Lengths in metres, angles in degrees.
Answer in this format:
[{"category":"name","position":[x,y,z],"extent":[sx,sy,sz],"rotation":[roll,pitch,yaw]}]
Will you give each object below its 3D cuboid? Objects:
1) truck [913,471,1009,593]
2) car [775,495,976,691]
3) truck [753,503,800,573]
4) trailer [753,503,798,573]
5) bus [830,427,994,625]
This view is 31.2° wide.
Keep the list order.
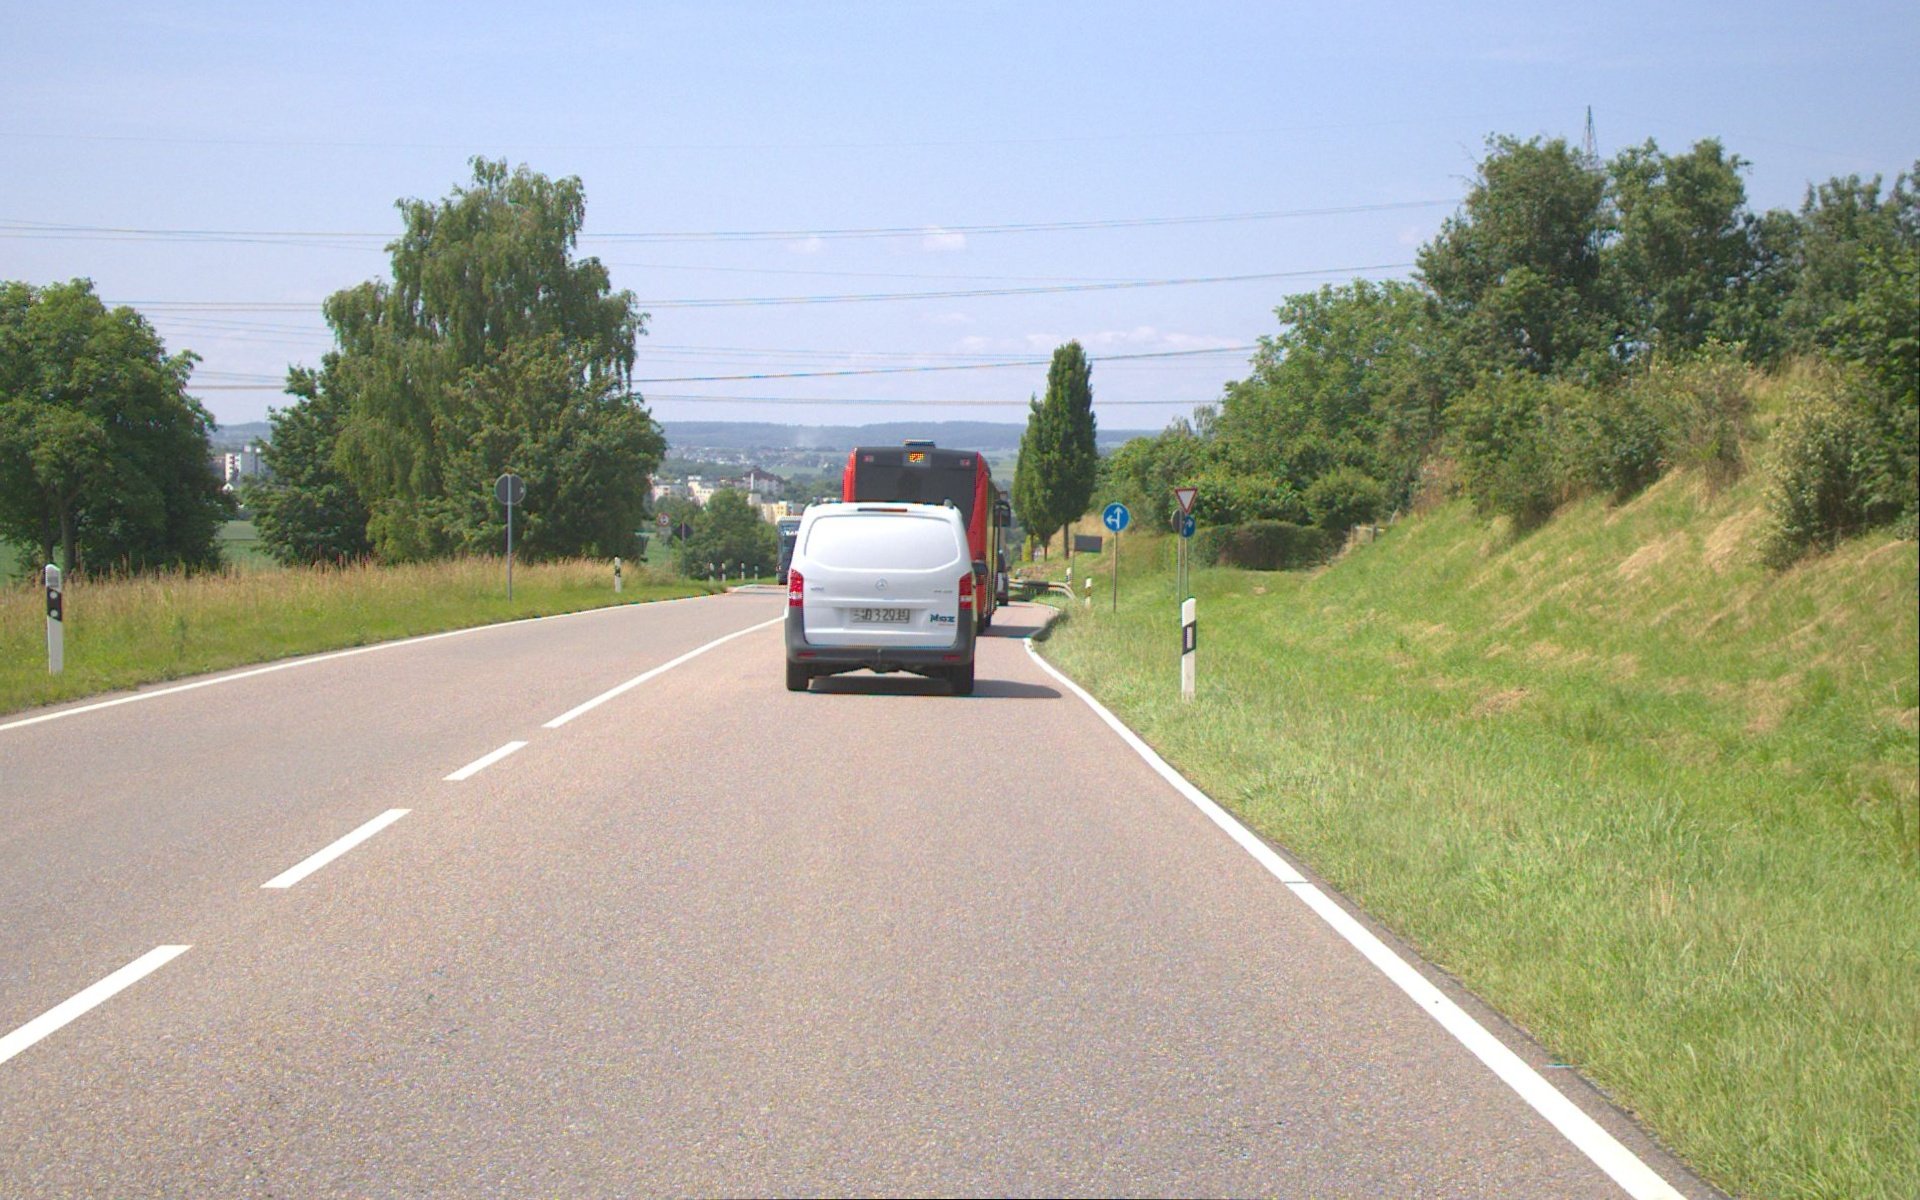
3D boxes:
[{"category":"truck","position":[-0.012,-2.583,131.708],"extent":[3.488,4.408,14.903],"rotation":[0,1,0]},{"category":"car","position":[-0.825,-0.103,35.079],"extent":[1.923,1.883,4.000],"rotation":[0,1,0]},{"category":"truck","position":[-11.008,-3.723,206.100],"extent":[2.585,4.090,5.443],"rotation":[1,1,-4]},{"category":"trailer","position":[-11.487,-3.831,213.091],"extent":[2.592,4.128,13.743],"rotation":[1,1,-4]},{"category":"bus","position":[-0.762,-1.536,65.359],"extent":[2.747,3.341,13.223],"rotation":[-1,2,1]}]
